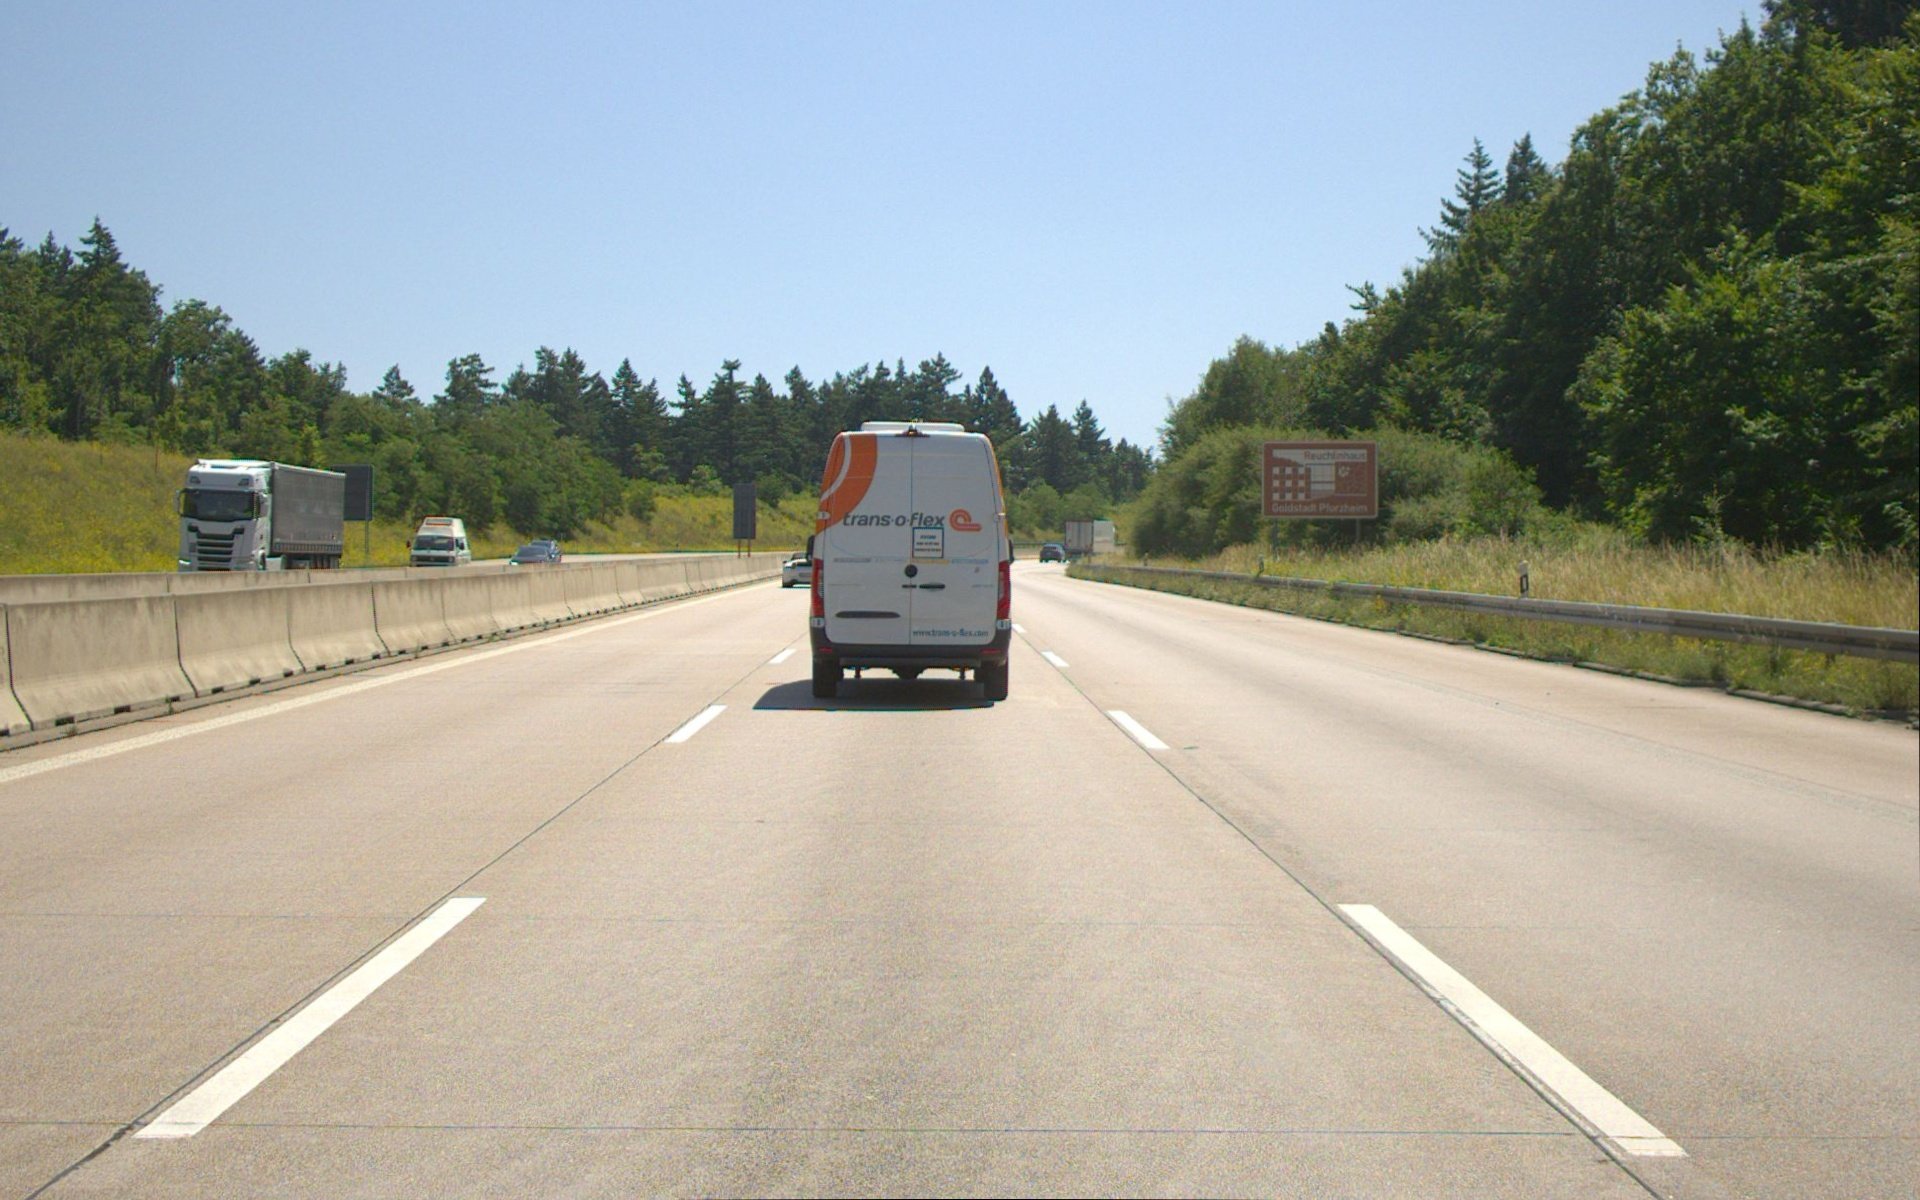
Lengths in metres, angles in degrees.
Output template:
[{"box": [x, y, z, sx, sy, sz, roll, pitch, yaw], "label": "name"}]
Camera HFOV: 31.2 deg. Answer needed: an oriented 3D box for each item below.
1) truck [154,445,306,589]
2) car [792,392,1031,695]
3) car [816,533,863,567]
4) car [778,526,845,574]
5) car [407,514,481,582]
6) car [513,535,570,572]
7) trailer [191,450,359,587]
[{"box": [-23.684, -2.641, 111.923, 3.256, 4.489, 7.986, 1, 0, 0], "label": "truck"}, {"box": [-0.512, -0.587, 35.369, 2.226, 2.834, 5.454, 1, 1, -1], "label": "car"}, {"box": [-6.072, -2.502, 173.233, 1.994, 1.678, 4.000, 1, 0, 3], "label": "car"}, {"box": [-5.329, -1.783, 124.148, 1.994, 1.678, 4.000, 1, 0, 3], "label": "car"}, {"box": [-19.465, -1.979, 129.938, 1.993, 2.477, 5.179, 1, 1, 0], "label": "car"}, {"box": [-18.120, -2.001, 148.919, 1.993, 1.577, 4.042, 0, 1, 0], "label": "car"}, {"box": [-23.713, -2.729, 119.745, 3.256, 4.489, 13.120, 1, 0, 0], "label": "trailer"}]
